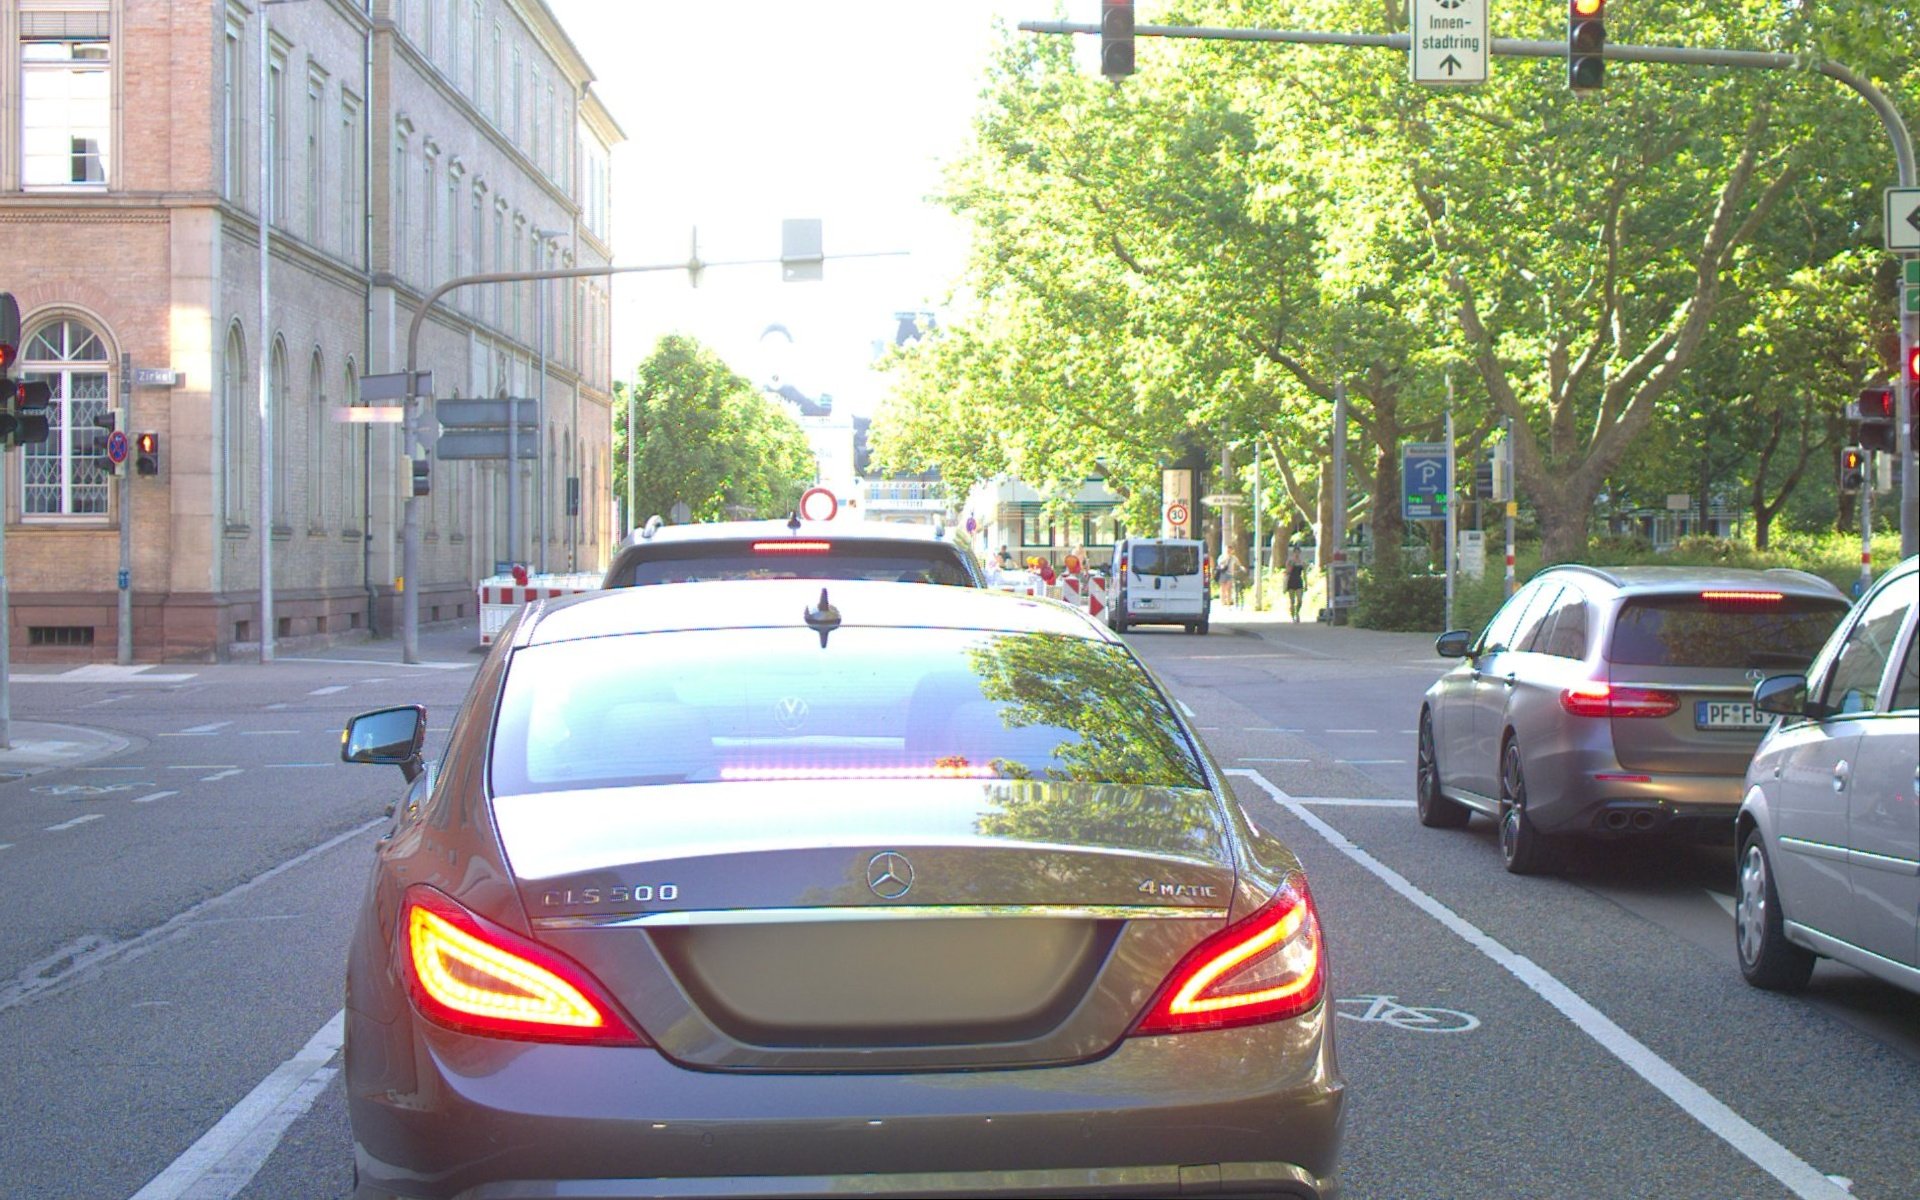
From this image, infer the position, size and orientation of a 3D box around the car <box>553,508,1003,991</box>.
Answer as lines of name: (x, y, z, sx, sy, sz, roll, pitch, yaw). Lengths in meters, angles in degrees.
car: (-0.711, 0.482, 13.698, 1.517, 1.641, 3.881, 1, 1, -3)

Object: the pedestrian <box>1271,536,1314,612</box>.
pedestrian: (7.067, -0.550, 73.140, 0.830, 1.601, 0.651, 1, 1, -1)

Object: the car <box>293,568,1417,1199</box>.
car: (-0.441, 0.680, 7.667, 1.803, 1.451, 4.352, 0, 1, -8)

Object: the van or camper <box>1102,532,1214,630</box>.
van or camper: (4.047, -0.428, 70.795, 1.993, 1.935, 4.594, 1, 1, 0)

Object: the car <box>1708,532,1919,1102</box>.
car: (3.573, 0.596, 10.722, 1.701, 1.597, 3.859, 1, 1, 1)

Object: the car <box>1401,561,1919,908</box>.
car: (3.537, 0.570, 17.448, 1.913, 1.459, 4.669, 1, 1, -1)

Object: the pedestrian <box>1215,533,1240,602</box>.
pedestrian: (7.083, -0.868, 91.031, 0.603, 1.815, 0.651, 1, 1, -1)

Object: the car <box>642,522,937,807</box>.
car: (-1.076, 0.362, 23.248, 1.820, 1.756, 4.000, 0, 1, -1)
